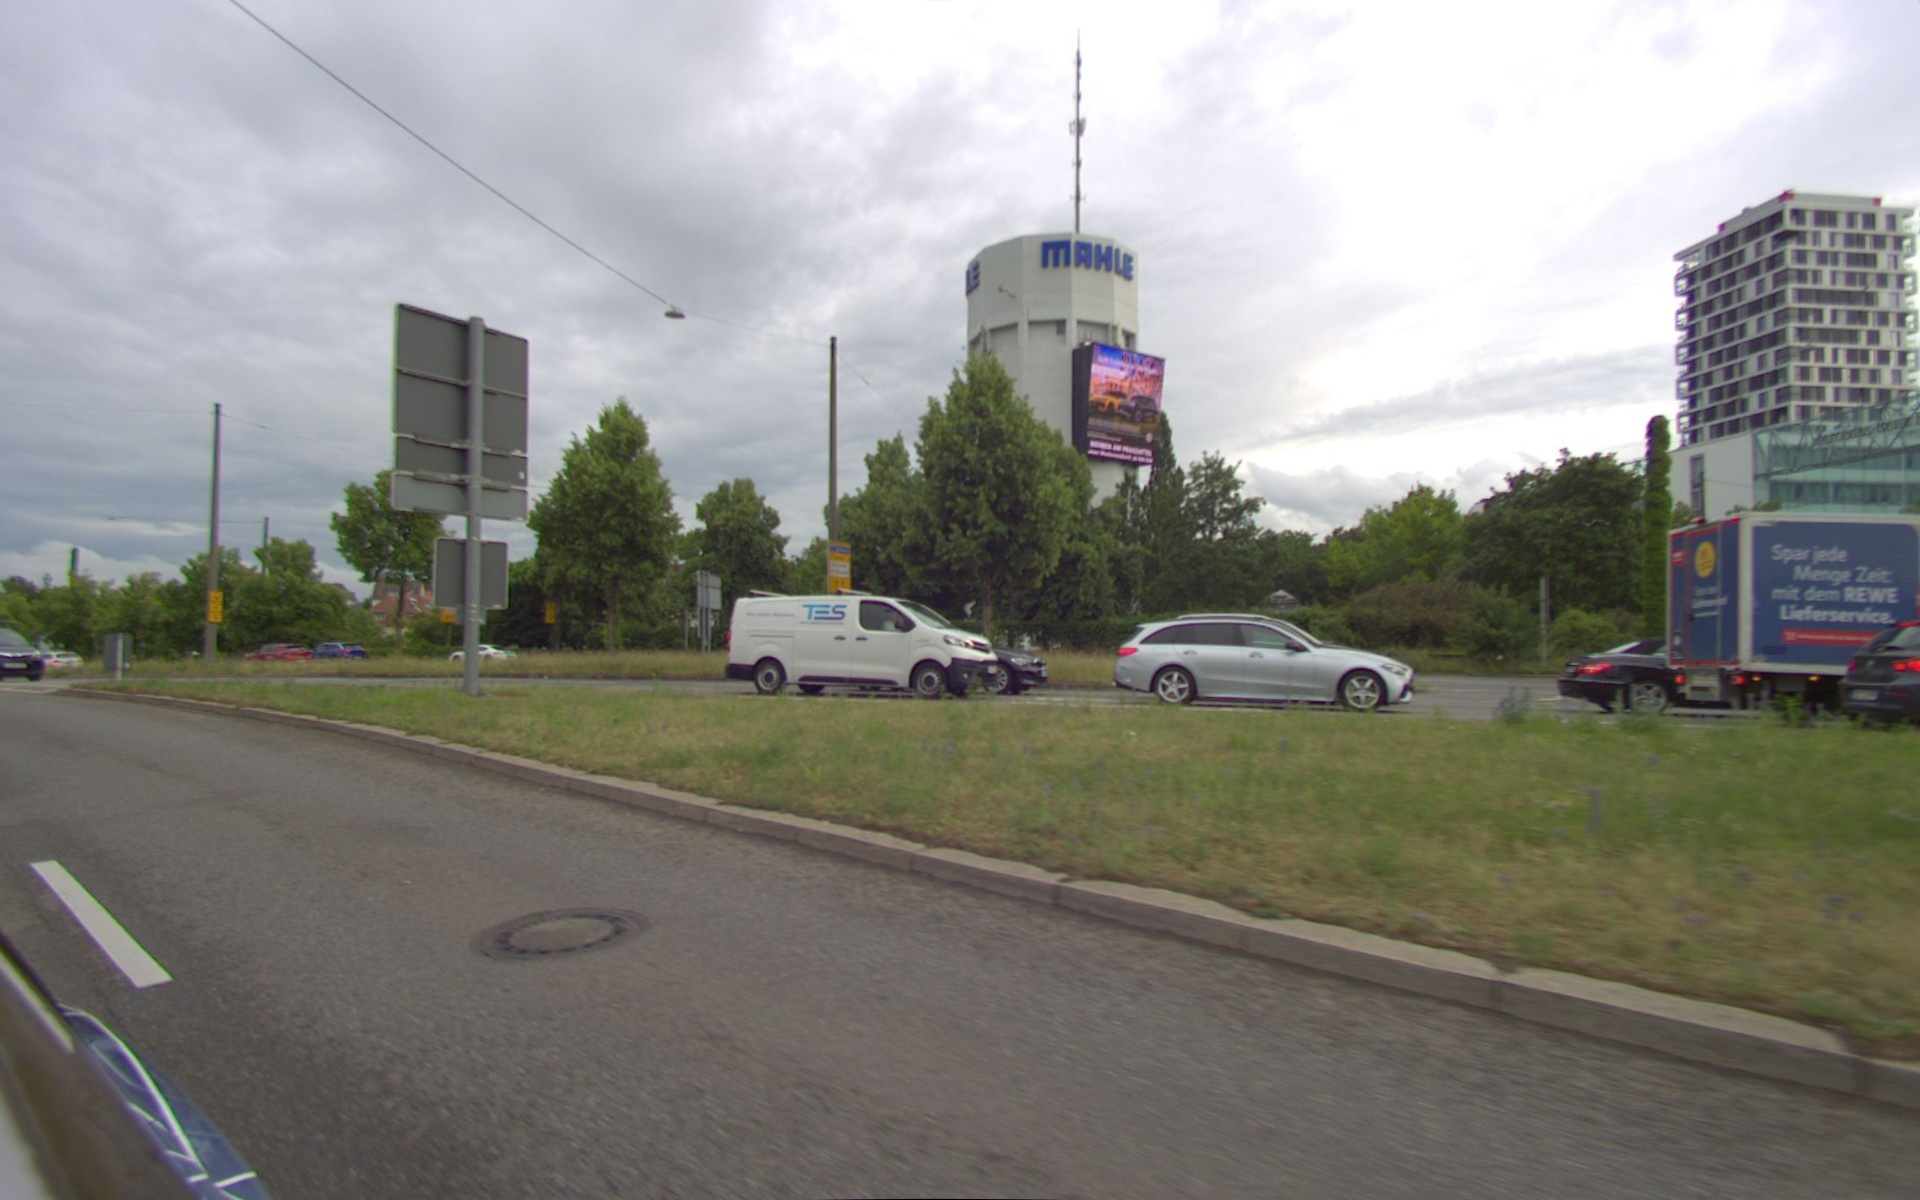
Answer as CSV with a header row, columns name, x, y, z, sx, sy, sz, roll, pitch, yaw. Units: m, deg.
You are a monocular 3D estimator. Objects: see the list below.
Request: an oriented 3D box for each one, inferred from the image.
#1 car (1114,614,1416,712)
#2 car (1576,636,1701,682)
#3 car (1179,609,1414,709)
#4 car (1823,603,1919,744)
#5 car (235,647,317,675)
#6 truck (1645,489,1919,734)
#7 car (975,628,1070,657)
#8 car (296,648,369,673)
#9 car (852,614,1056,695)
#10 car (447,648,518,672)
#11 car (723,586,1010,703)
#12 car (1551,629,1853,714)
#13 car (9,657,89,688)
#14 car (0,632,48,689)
name,x,y,z,sx,sy,sz,roll,pitch,yaw
car,4.908,1.031,16.598,4.486,1.446,1.832,-1,-4,20
car,25.243,2.176,37.675,3.732,1.611,1.848,-2,-2,38
car,6.420,1.127,19.526,4.040,1.694,1.832,-3,0,19
car,12.148,0.736,10.799,3.942,1.473,1.864,-2,-3,17
car,-38.988,3.480,57.692,3.968,1.543,1.903,-2,-3,19
truck,14.119,0.157,14.474,6.478,3.244,2.666,-1,-2,11
car,4.817,3.329,78.394,6.949,2.147,2.374,-1,-1,21
car,-38.070,3.672,61.382,3.957,1.453,1.867,-2,-3,24
car,-0.074,1.149,21.362,3.963,1.576,1.901,-1,-4,15
car,-28.459,3.571,60.304,3.956,1.403,1.653,-2,-3,24
car,-1.752,0.848,19.016,5.055,1.988,1.897,-1,-4,21
car,12.869,1.222,17.815,3.826,1.383,1.753,-1,-2,12
car,-57.623,4.571,64.005,4.840,1.784,1.984,-3,-2,24
car,-28.451,1.789,29.415,4.027,1.577,1.783,-3,-1,31
